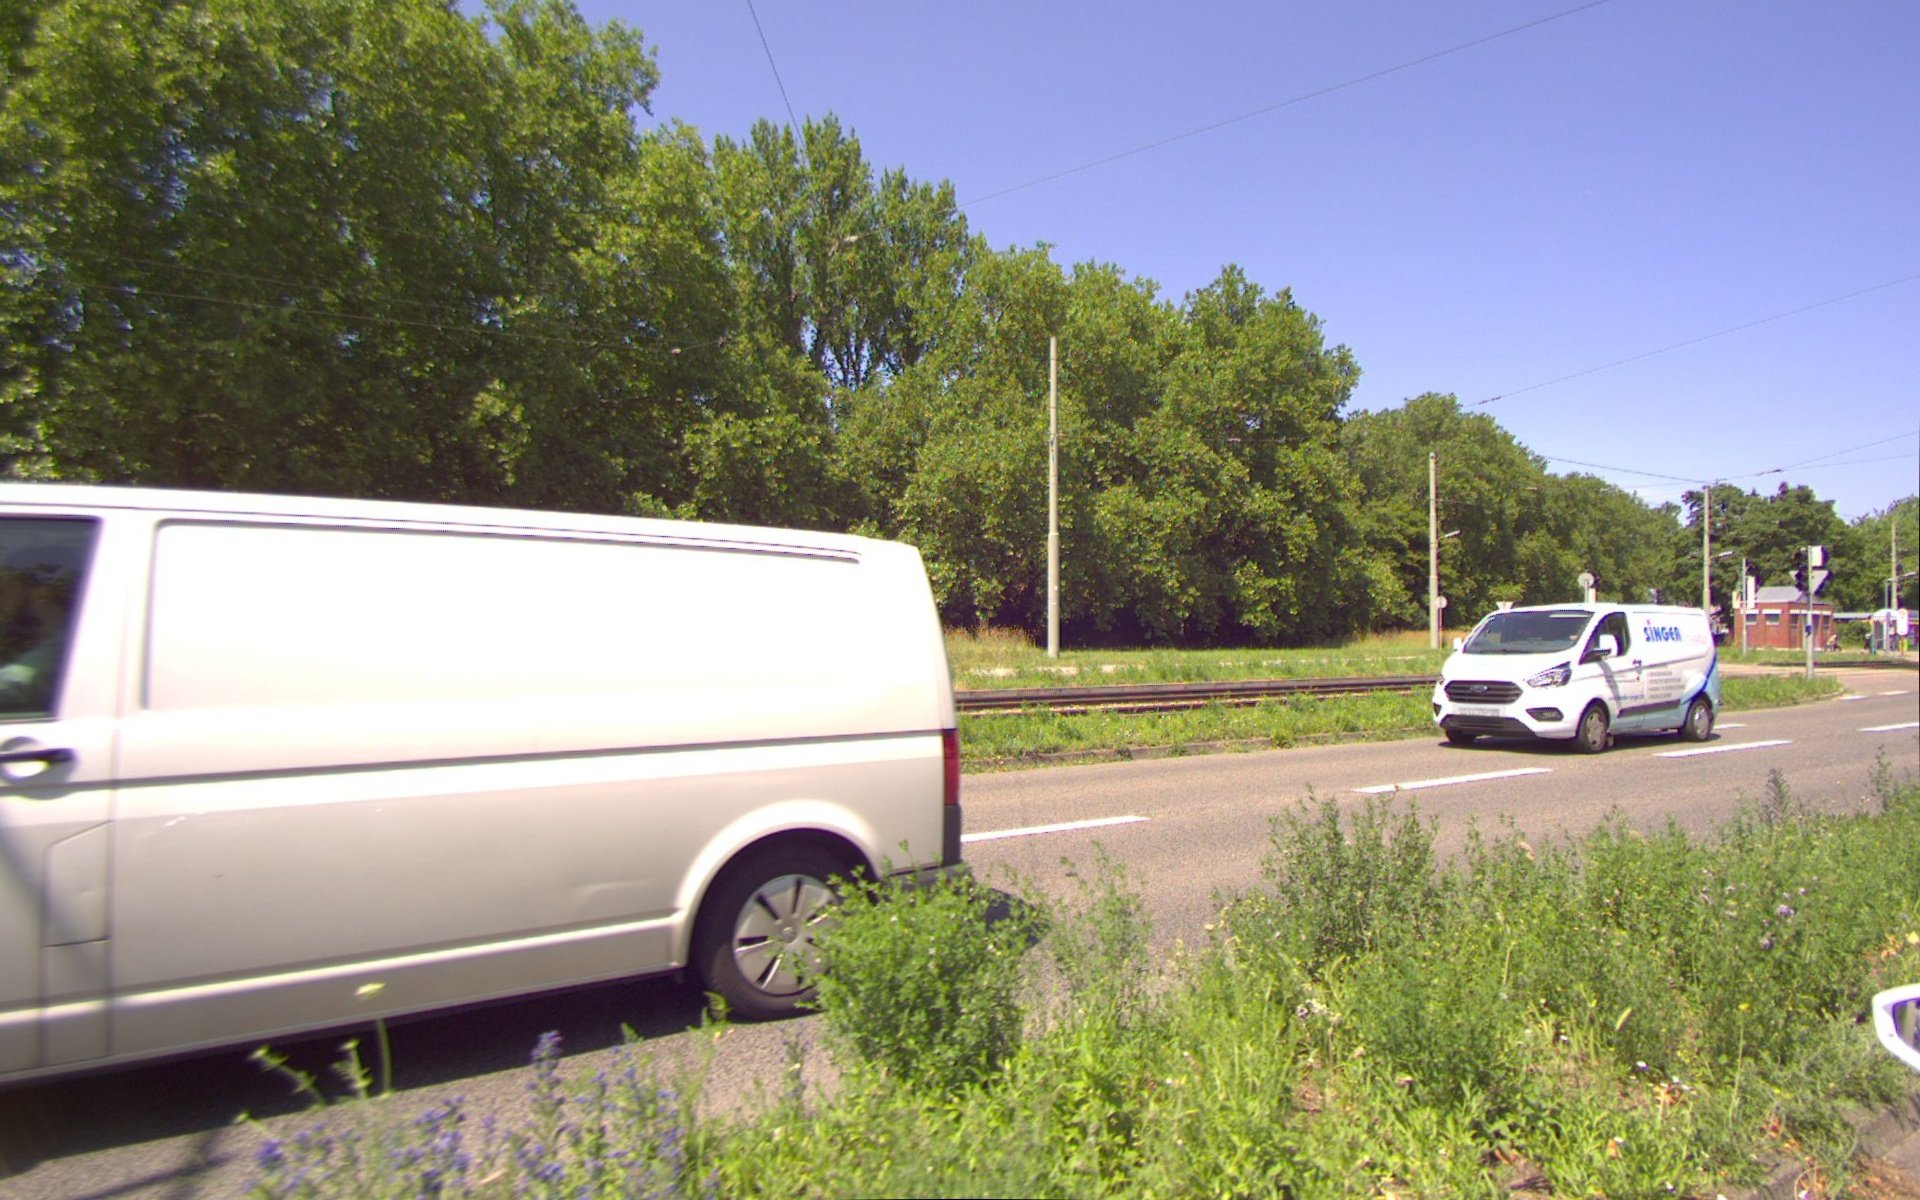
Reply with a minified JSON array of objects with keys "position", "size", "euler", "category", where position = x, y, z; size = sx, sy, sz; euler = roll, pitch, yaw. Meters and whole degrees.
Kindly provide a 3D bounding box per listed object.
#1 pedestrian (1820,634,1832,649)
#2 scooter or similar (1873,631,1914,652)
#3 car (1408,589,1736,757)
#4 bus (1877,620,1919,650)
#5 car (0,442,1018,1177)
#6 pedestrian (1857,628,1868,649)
[{"position":[59.743,2.882,69.265],"size":[0.516,1.032,0.479],"euler":[1,-1,-31],"category":"pedestrian"},{"position":[52.983,2.336,57.023],"size":[1.639,1.142,0.613],"euler":[1,-1,12],"category":"scooter or similar"},{"position":[8.876,0.960,14.444],"size":[4.974,2.040,1.983],"euler":[1,-3,-32],"category":"car"},{"position":[115.644,4.195,121.430],"size":[1.963,3.613,7.549],"euler":[1,-1,-7],"category":"bus"},{"position":[-2.575,0.592,3.683],"size":[5.500,1.931,1.822],"euler":[1,-3,-30],"category":"car"},{"position":[63.441,2.722,70.588],"size":[0.520,1.455,0.458],"euler":[1,-1,-35],"category":"pedestrian"}]
